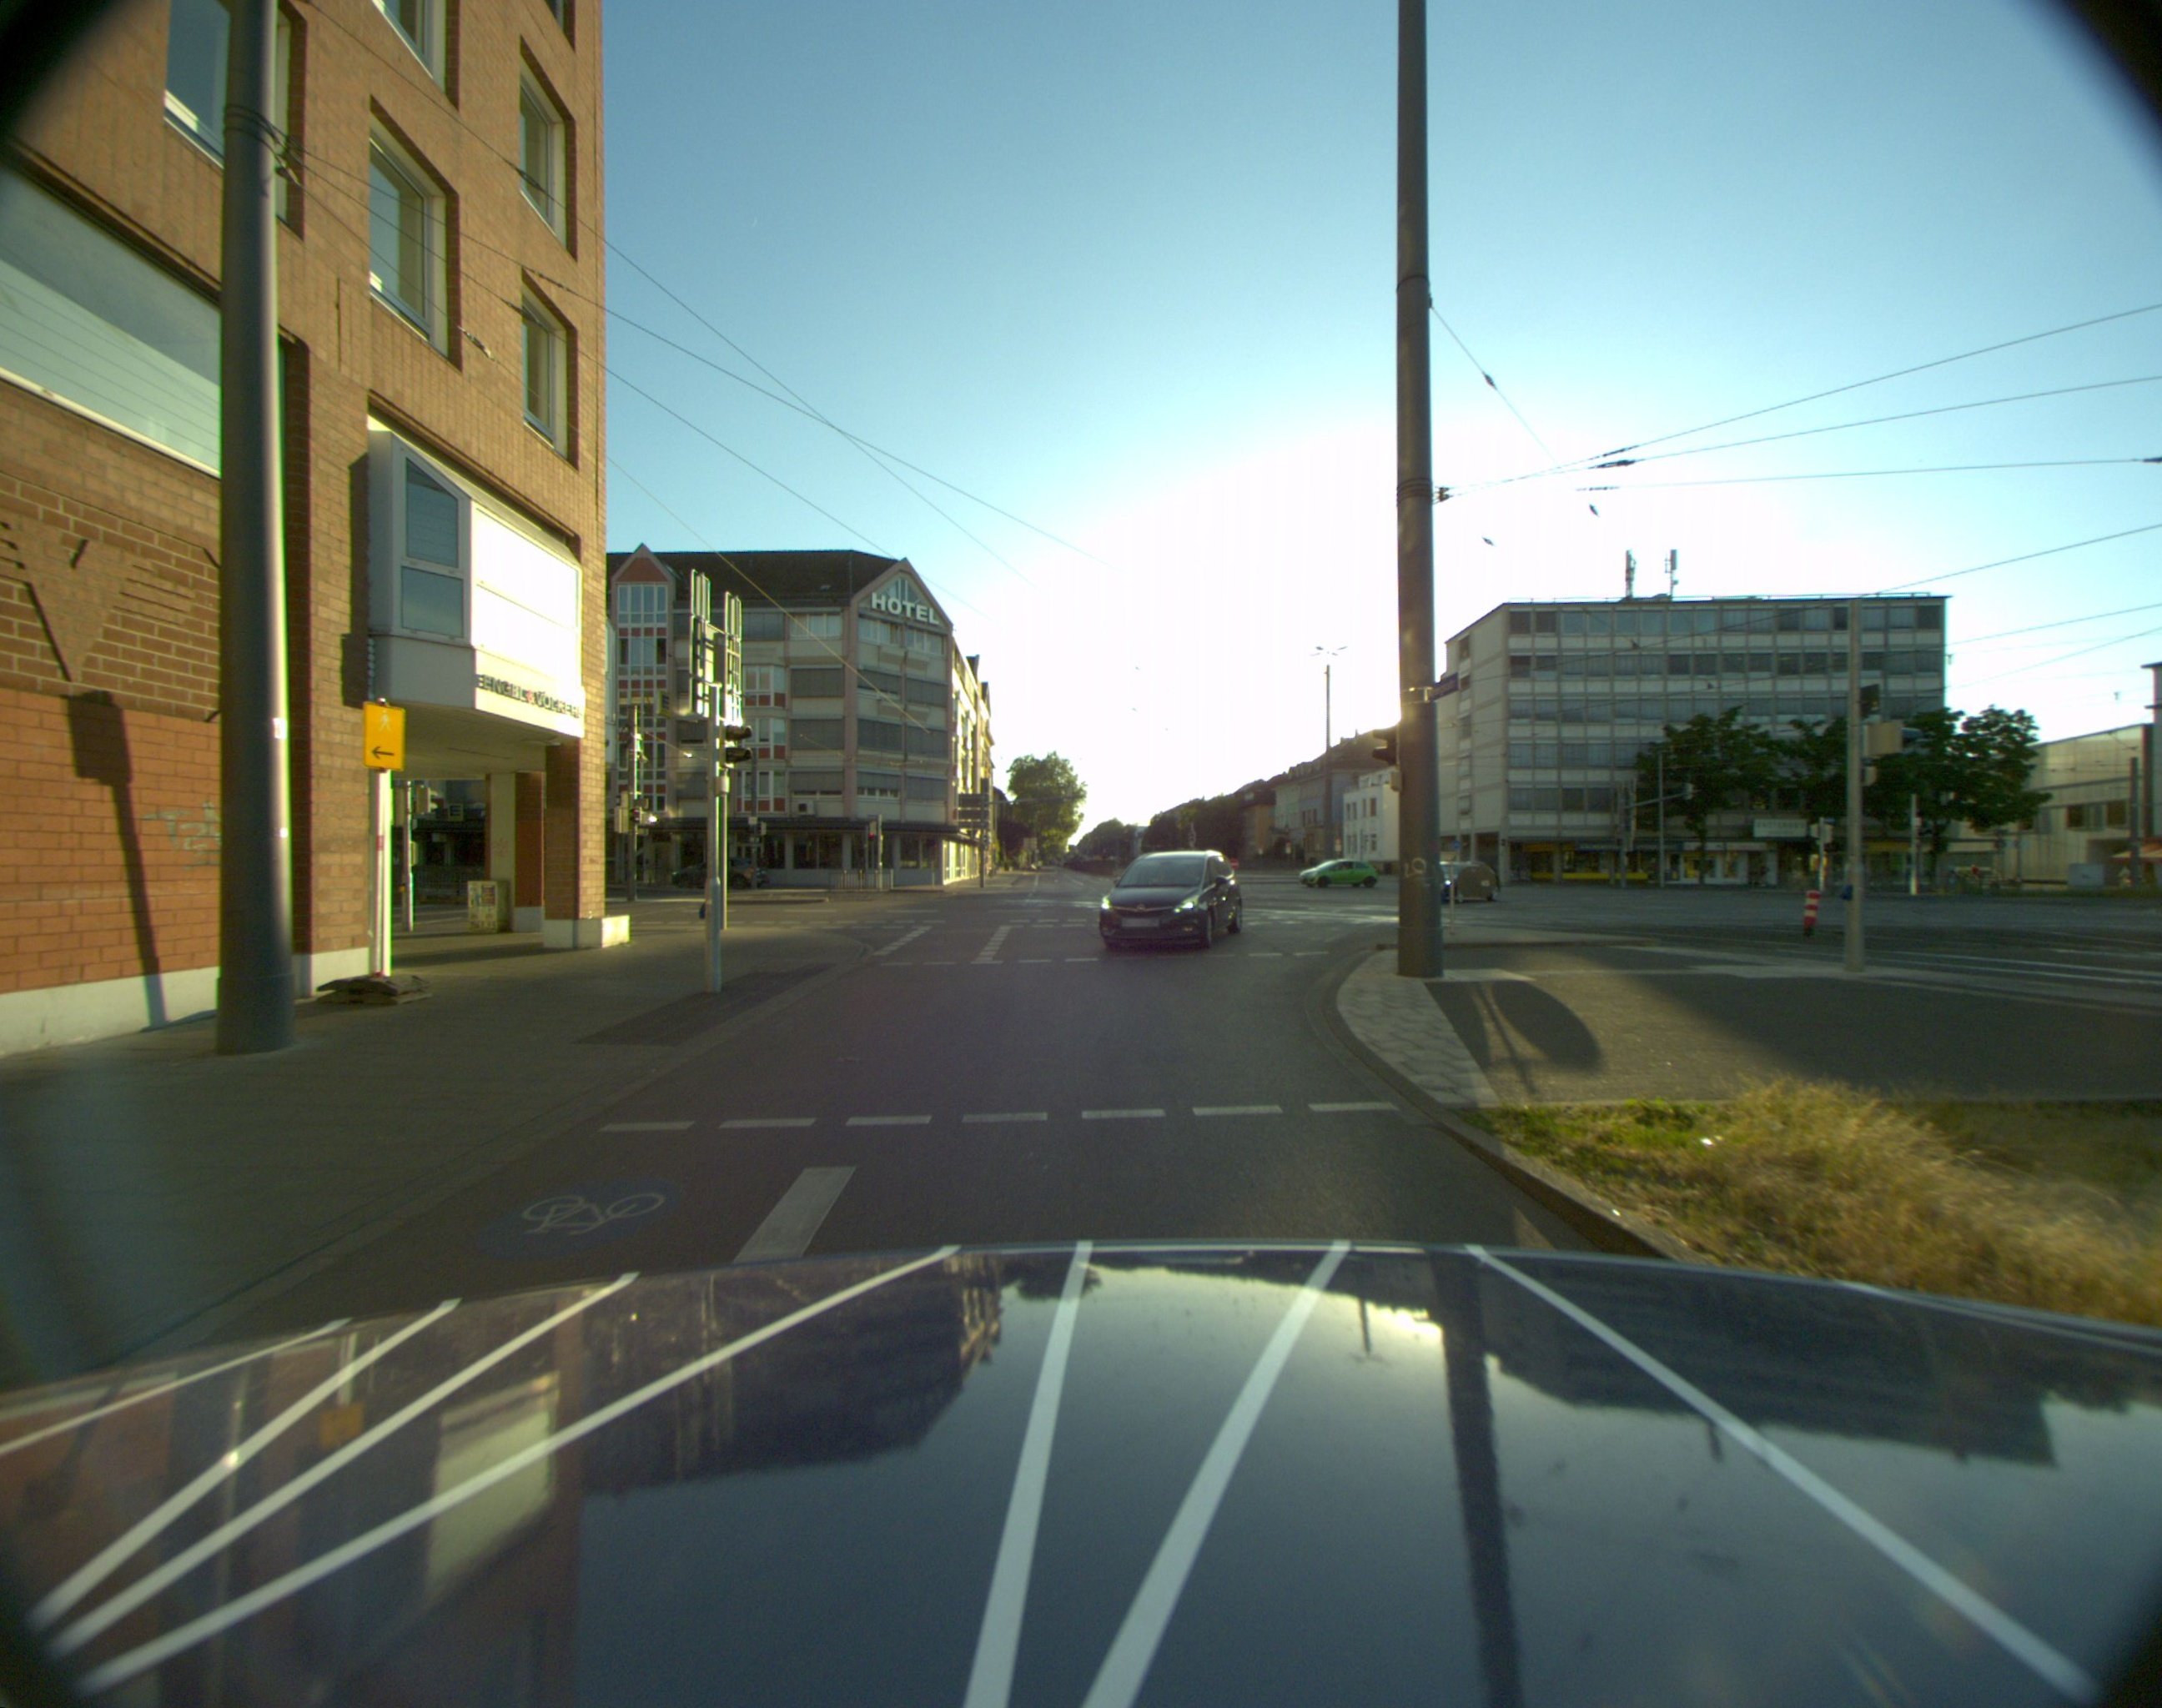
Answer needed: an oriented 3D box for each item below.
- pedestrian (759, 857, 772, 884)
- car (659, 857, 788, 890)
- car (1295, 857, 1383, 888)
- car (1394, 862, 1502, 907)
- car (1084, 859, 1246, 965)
[{"bbox_3d":[-18.002,0.936,43.323,0.471,1.484,0.478,0,0,35],"label":"pedestrian"},{"bbox_3d":[-18.032,0.987,38.503,5.573,1.618,2.032,0,0,1],"label":"car"},{"bbox_3d":[13.455,0.962,39.769,4.023,1.557,1.748,0,0,-6],"label":"car"},{"bbox_3d":[12.641,0.984,26.068,4.234,1.399,1.847,1,0,-42],"label":"car"},{"bbox_3d":[1.716,0.899,13.860,1.797,1.609,4.394,0,0,22],"label":"car"}]
